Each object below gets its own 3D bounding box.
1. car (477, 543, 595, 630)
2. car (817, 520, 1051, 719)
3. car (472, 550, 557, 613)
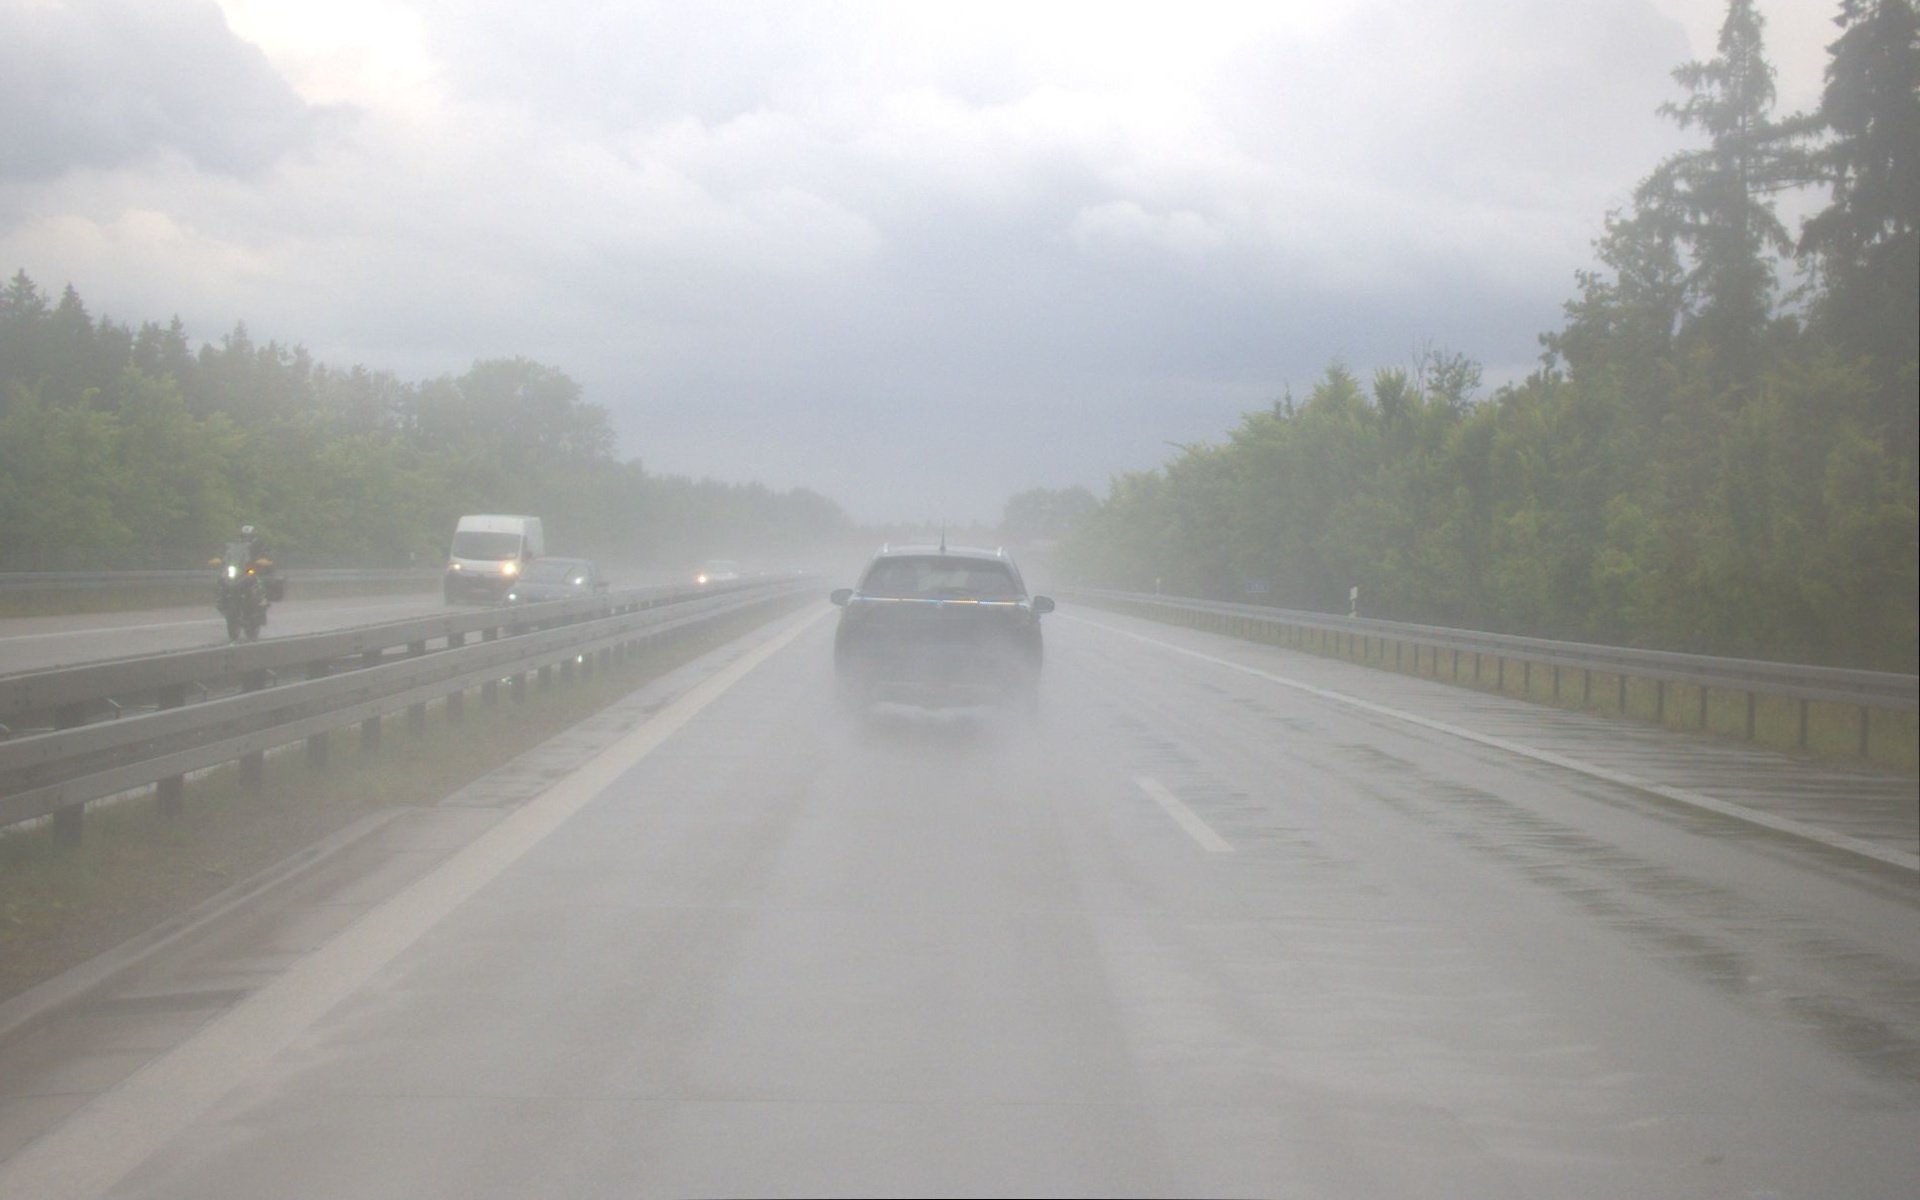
[{"bbox_3d":[-8.386,-0.240,68.198,1.894,1.571,3.632,3,-1,-1],"label":"car"},{"bbox_3d":[-0.277,0.189,30.747,1.894,1.571,3.632,3,-1,-2],"label":"car"},{"bbox_3d":[-12.268,-0.501,94.843,1.894,1.571,3.632,3,-1,-1],"label":"car"}]
